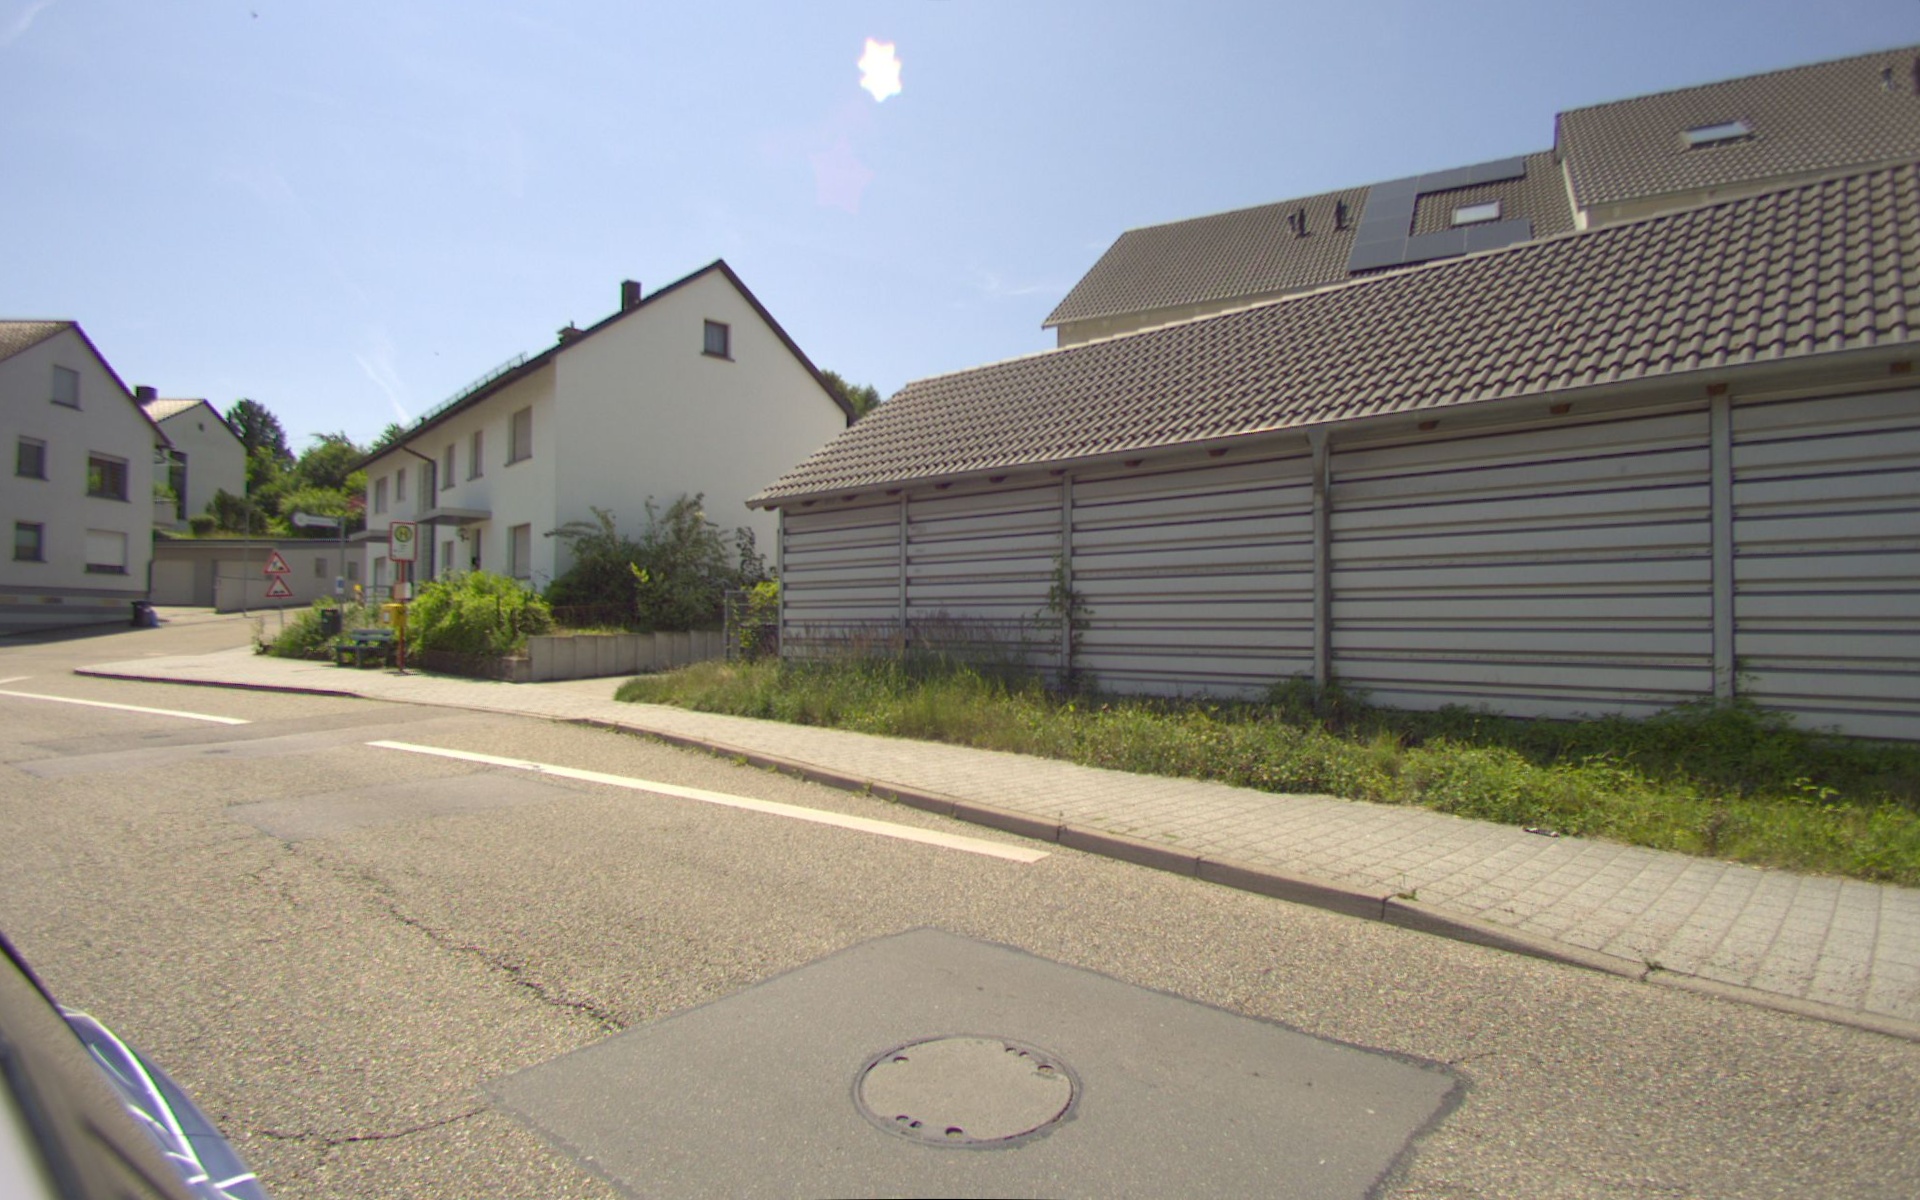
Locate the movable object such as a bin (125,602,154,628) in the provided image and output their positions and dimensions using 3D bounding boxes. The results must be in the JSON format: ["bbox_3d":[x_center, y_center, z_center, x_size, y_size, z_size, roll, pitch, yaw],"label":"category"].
[{"bbox_3d":[-29.782,0.557,36.740,0.591,0.941,0.600,1,-1,-4],"label":"movable object such as a bin"}]
